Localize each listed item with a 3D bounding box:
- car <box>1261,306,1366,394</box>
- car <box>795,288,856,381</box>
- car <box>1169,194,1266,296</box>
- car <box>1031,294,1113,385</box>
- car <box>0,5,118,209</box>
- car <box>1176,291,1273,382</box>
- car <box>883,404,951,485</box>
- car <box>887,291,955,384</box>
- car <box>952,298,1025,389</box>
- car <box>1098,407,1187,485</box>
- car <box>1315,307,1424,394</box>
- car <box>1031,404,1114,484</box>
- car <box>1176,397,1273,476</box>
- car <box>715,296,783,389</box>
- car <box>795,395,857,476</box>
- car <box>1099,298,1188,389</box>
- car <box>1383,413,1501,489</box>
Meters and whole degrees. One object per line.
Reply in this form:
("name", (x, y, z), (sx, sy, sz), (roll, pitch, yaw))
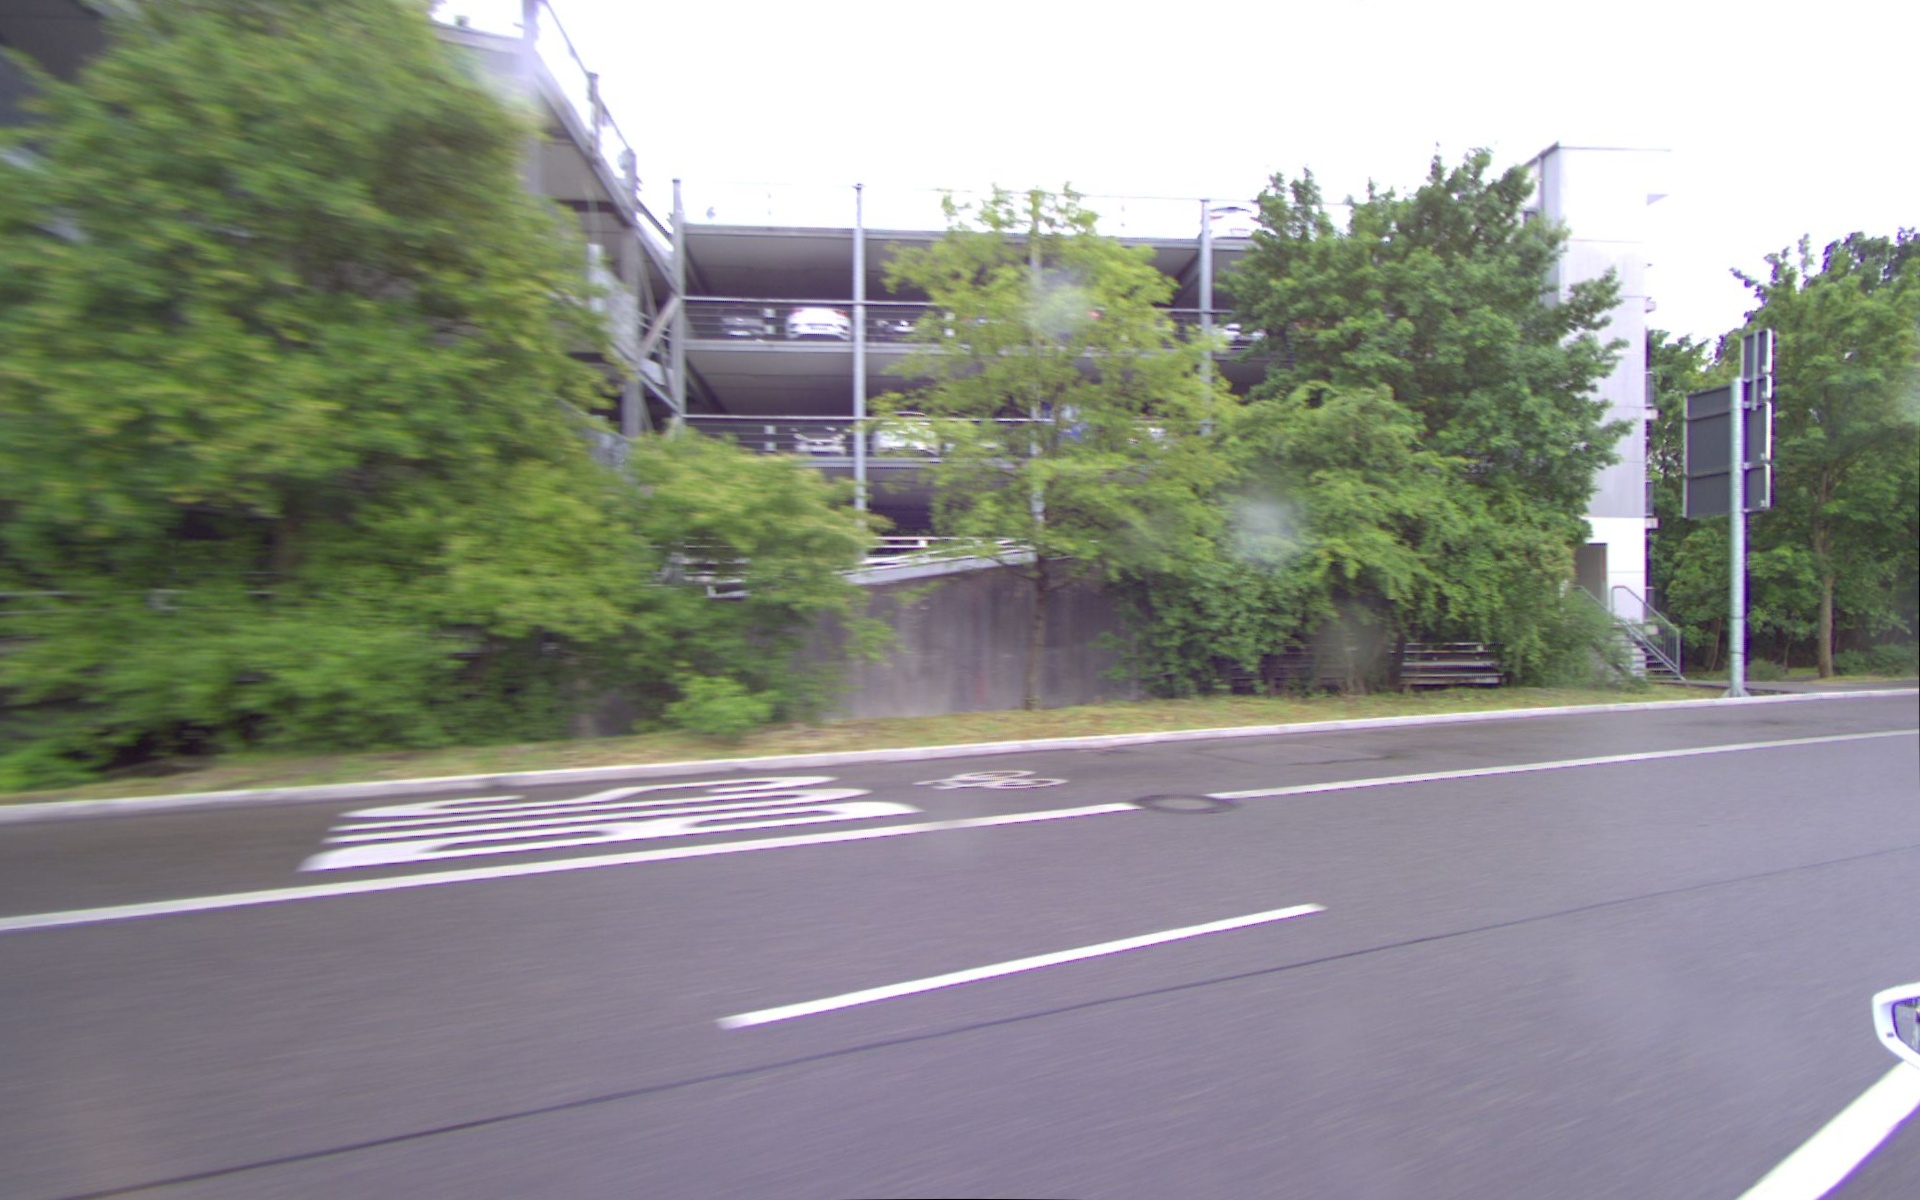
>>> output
("car", (10.057, -7.078, 28.780), (1.557, 1.539, 3.241), (1, -2, -8))
("car", (-3.697, -7.251, 27.738), (1.557, 1.539, 3.241), (1, -2, -8))
("car", (7.232, -9.984, 28.493), (1.557, 1.539, 3.241), (1, -2, -8))
("car", (3.069, -7.197, 28.046), (1.557, 1.539, 3.241), (1, -2, -8))
("car", (-11.185, -5.587, 10.163), (1.961, 1.539, 4.000), (1, -2, -1))
("car", (7.397, -7.352, 28.360), (1.557, 1.539, 3.241), (1, -2, -8))
("car", (-1.219, -4.190, 27.509), (1.557, 1.539, 3.241), (1, -2, -8))
("car", (-1.128, -7.115, 27.509), (1.557, 1.539, 3.241), (1, -2, -8))
("car", (0.746, -7.108, 28.098), (1.557, 1.539, 3.241), (1, -2, -8))
("car", (5.053, -4.247, 28.178), (1.557, 1.539, 3.241), (1, -2, -8))
("car", (11.784, -7.147, 29.105), (1.557, 1.539, 3.241), (1, -2, -8))
("car", (3.069, -4.262, 27.866), (1.557, 1.539, 3.241), (1, -2, -8))
("car", (7.381, -4.534, 28.289), (1.557, 1.539, 3.241), (1, -2, -8))
("car", (-5.714, -6.973, 27.469), (1.557, 1.539, 3.241), (1, -2, -8))
("car", (-3.690, -4.462, 27.684), (1.557, 1.539, 3.241), (1, -2, -8))
("car", (5.089, -7.139, 28.239), (1.557, 1.539, 3.241), (1, -2, -8))
("car", (13.773, -4.222, 28.877), (1.557, 1.539, 3.241), (1, -2, -8))
